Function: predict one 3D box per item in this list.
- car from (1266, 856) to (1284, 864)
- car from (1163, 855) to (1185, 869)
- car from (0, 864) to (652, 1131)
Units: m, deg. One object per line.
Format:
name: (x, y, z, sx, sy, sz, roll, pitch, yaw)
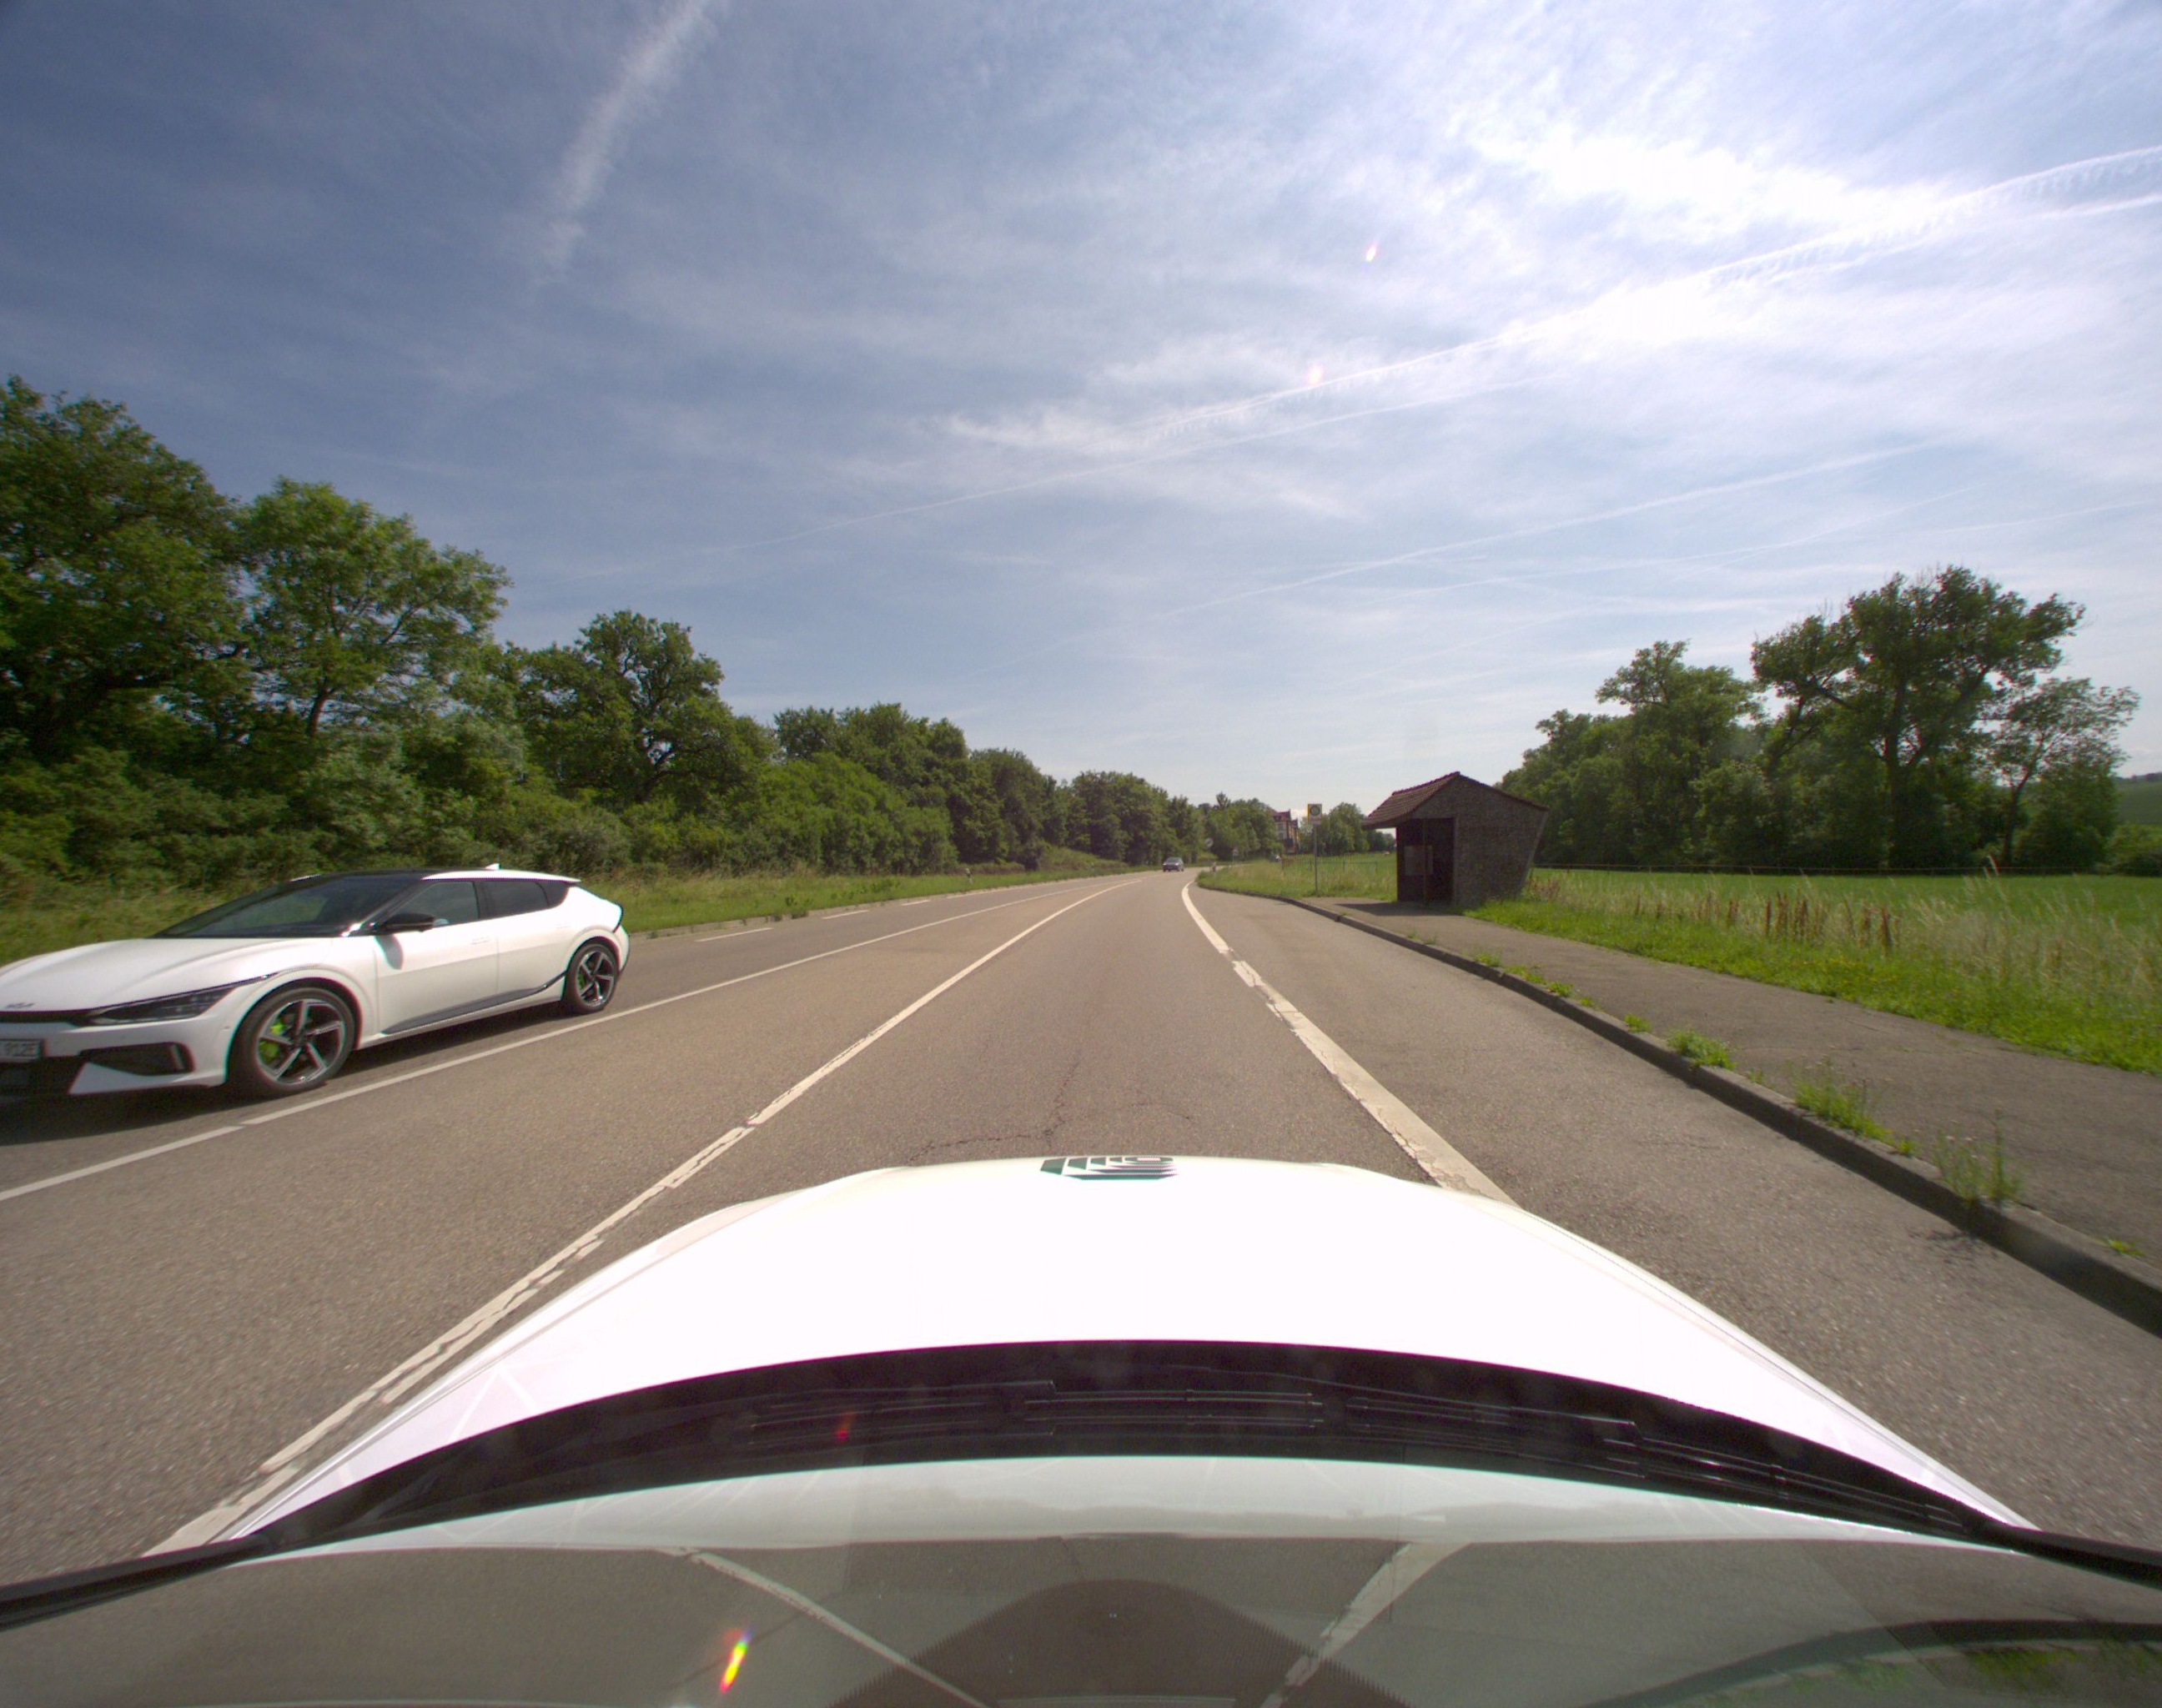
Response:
car: (35.563, 1.098, 149.222, 1.974, 1.574, 4.025, -1, -1, 33)
car: (10.260, 0.893, 90.044, 1.741, 1.534, 4.246, 0, 0, 16)
car: (-6.105, 0.878, 7.147, 1.928, 1.548, 4.633, -1, -1, 5)
